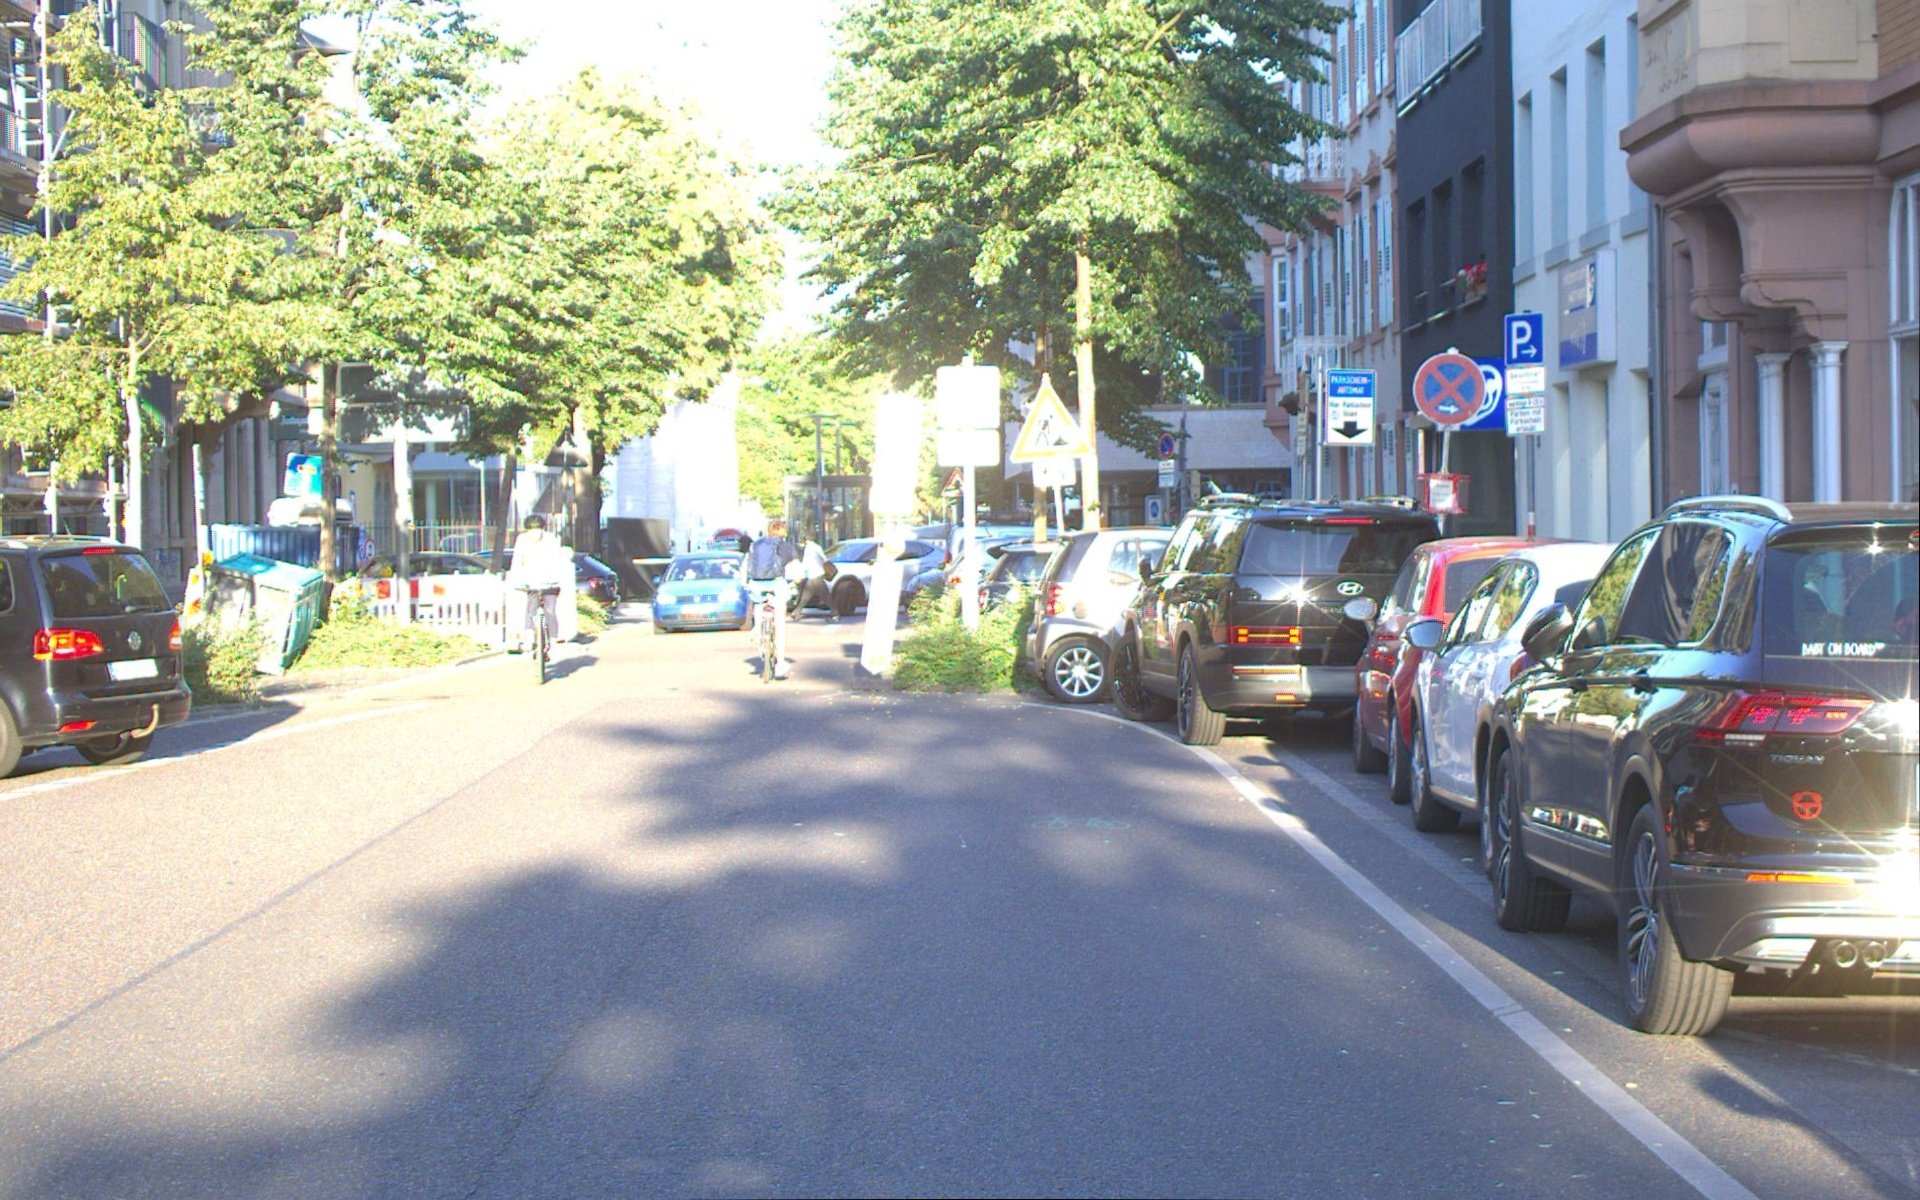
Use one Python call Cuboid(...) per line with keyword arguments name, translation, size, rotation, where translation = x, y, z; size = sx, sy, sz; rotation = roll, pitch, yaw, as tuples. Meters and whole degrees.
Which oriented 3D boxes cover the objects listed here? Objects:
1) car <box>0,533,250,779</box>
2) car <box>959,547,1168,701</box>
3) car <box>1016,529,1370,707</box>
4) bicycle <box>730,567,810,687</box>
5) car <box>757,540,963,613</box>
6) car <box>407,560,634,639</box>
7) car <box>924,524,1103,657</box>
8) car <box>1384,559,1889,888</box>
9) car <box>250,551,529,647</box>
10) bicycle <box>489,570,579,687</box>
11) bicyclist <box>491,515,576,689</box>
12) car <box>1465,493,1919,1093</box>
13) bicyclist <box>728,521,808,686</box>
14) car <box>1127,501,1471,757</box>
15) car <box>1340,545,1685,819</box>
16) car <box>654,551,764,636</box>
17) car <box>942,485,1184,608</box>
Cuboid(name="car", translation=(-7.529, 0.447, 24.242), size=(4.499, 1.596, 1.998), rotation=(-3, -1, 19))
Cuboid(name="car", translation=(1.124, 0.240, 39.561), size=(1.993, 1.662, 4.510), rotation=(1, 1, -3))
Cuboid(name="car", translation=(2.050, 0.155, 30.721), size=(2.968, 1.531, 1.433), rotation=(1, 0, -4))
Cuboid(name="bicycle", translation=(-1.986, 0.264, 36.127), size=(0.780, 1.200, 2.021), rotation=(-2, 1, -3))
Cuboid(name="car", translation=(-2.062, -0.493, 72.289), size=(1.889, 1.475, 4.449), rotation=(1, 1, 39))
Cuboid(name="car", translation=(-8.459, -0.013, 66.407), size=(4.103, 1.460, 1.889), rotation=(1, 0, 2))
Cuboid(name="car", translation=(0.773, -0.162, 52.837), size=(2.265, 1.760, 4.510), rotation=(5, 0, -3))
Cuboid(name="car", translation=(3.097, 0.505, 16.456), size=(1.666, 1.373, 3.802), rotation=(1, 1, 0))
Cuboid(name="car", translation=(-9.069, -0.020, 54.872), size=(4.103, 1.460, 1.889), rotation=(1, 0, 2))
Cuboid(name="bicycle", translation=(-4.570, 0.293, 36.981), size=(0.780, 1.200, 2.021), rotation=(-2, 1, -3))
Cuboid(name="bicyclist", translation=(-4.578, 0.019, 36.990), size=(0.780, 1.823, 1.007), rotation=(-2, 0, -3))
Cuboid(name="car", translation=(2.928, 0.522, 11.649), size=(1.812, 1.662, 4.206), rotation=(1, 0, 0))
Cuboid(name="bicyclist", translation=(-2.011, 0.030, 36.050), size=(0.780, 1.690, 1.007), rotation=(-2, 0, -3))
Cuboid(name="car", translation=(2.364, 0.177, 25.076), size=(1.824, 1.689, 4.369), rotation=(1, 1, -3))
Cuboid(name="car", translation=(3.198, 0.434, 20.403), size=(1.587, 1.478, 3.266), rotation=(1, 0, 2))
Cuboid(name="car", translation=(-4.463, -0.139, 61.545), size=(1.838, 1.436, 4.332), rotation=(1, 1, -3))
Cuboid(name="car", translation=(1.777, -0.908, 58.225), size=(3.987, 2.007, 2.000), rotation=(-1, 1, 4))
